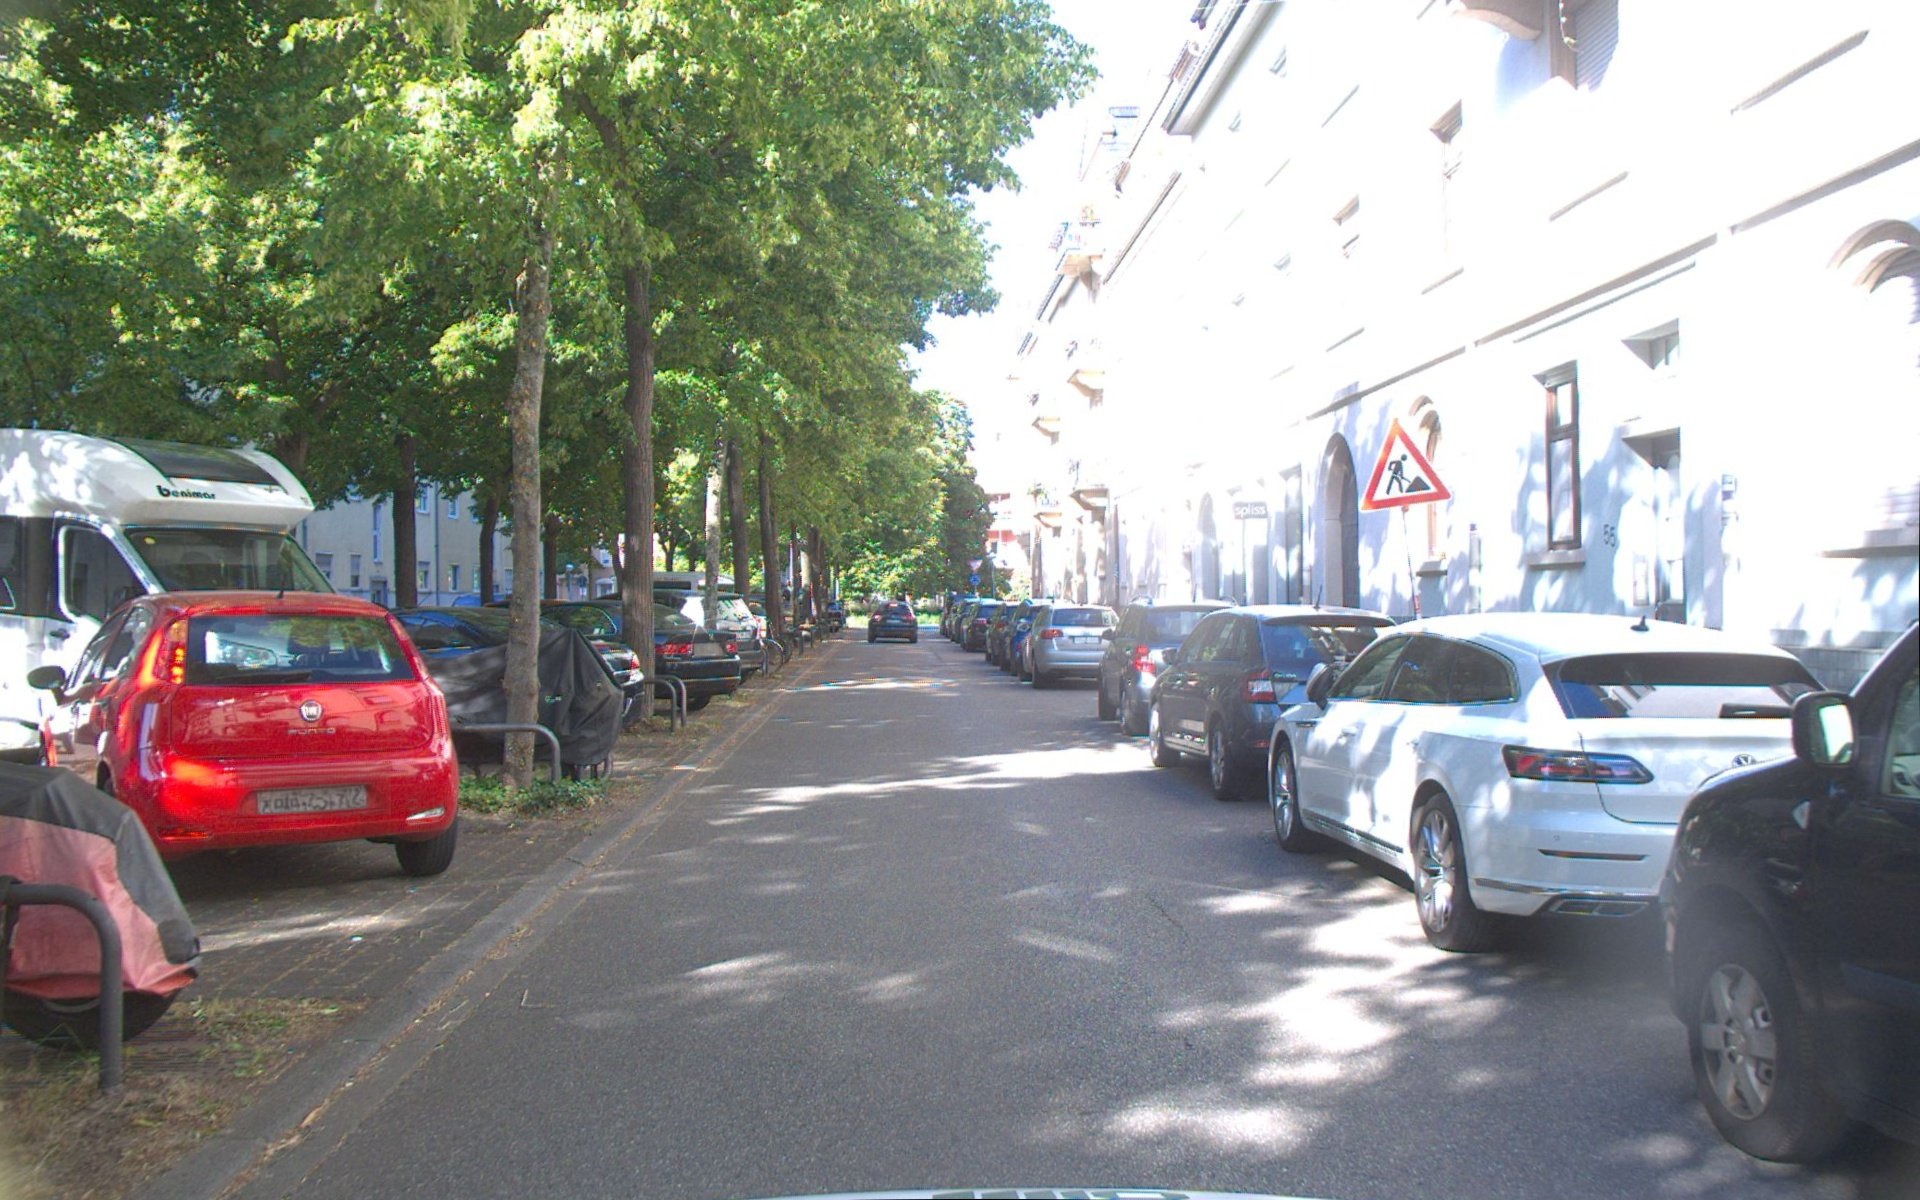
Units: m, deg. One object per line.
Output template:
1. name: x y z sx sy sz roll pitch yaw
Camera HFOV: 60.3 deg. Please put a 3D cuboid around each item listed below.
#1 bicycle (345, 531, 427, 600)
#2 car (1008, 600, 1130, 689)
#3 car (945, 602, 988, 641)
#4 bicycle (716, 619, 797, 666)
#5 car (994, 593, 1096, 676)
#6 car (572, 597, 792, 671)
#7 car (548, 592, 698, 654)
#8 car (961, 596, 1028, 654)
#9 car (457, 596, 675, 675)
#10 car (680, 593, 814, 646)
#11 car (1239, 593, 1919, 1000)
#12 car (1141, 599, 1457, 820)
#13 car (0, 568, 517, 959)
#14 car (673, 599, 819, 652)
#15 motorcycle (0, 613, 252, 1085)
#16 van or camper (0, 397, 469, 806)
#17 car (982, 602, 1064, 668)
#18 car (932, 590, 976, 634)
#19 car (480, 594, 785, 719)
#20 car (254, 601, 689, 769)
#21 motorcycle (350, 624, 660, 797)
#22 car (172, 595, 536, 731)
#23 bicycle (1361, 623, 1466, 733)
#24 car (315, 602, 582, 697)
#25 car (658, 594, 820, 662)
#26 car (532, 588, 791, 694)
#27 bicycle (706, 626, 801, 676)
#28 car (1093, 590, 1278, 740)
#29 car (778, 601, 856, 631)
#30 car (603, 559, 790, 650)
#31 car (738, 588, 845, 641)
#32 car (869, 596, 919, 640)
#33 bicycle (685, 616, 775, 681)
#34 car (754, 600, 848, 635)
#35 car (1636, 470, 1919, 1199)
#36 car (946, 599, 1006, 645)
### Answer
1. bicycle: -10.531 -0.615 30.397 0.348 1.221 1.801 0 0 21
2. car: 1.887 0.746 29.928 1.734 1.456 4.289 -2 0 -2
3. car: 0.260 0.884 70.844 1.612 1.564 3.998 2 0 -3
4. bicycle: -4.588 0.961 37.294 1.772 1.011 0.426 -1 0 13
5. car: 1.719 0.679 34.724 1.732 1.579 4.181 -2 0 -2
6. car: -6.010 0.707 35.712 4.523 1.512 1.759 0 0 26
7. car: -9.499 0.648 46.562 3.828 1.583 1.844 -2 0 28
8. car: 0.995 0.721 49.631 1.768 1.591 4.319 -2 0 -1
9. car: -7.981 0.707 33.470 4.022 1.499 1.870 -1 0 26
10. car: -7.053 0.623 54.743 4.178 1.670 1.654 0 0 26
11. car: 2.730 0.722 8.395 1.575 1.445 4.565 -2 0 -3
12. car: 2.632 0.776 13.744 1.567 1.518 3.964 -2 0 -3
13. car: -4.096 0.732 9.069 1.650 1.646 3.820 -2 0 -42
14. car: -6.327 0.768 48.961 4.016 1.507 1.730 -1 -1 27
15. motorcycle: -3.542 0.749 5.146 2.278 1.358 0.966 -1 0 -12
16. van or camper: -7.382 0.009 14.079 6.163 2.874 2.405 0 0 26
17. car: 1.461 0.796 39.707 1.658 1.493 4.003 0 0 -2
18. car: -0.301 0.561 76.128 1.765 1.903 4.270 2 0 -3
19. car: -4.394 0.742 21.996 3.935 1.499 1.622 -2 0 33
20. car: -4.772 0.772 16.024 4.066 1.450 1.712 -1 -1 30
21. motorcycle: -3.457 0.825 12.676 2.102 1.251 0.882 -1 0 6
22. car: -7.300 0.723 19.970 3.905 1.512 1.830 0 -1 21
23. bicycle: 5.333 0.890 19.547 0.399 1.207 1.843 -1 0 -11
24. car: -8.188 0.756 26.405 4.108 1.415 1.814 -1 0 31
25. car: -5.508 0.680 41.218 3.607 1.624 1.772 0 0 23
26. car: -5.059 0.656 28.032 3.994 1.682 1.862 0 0 25
27. bicycle: -4.030 0.992 32.263 1.858 0.935 0.379 0 0 17
28. car: 2.556 0.692 19.598 1.548 1.578 4.040 -1 0 -1
29. car: -7.613 0.854 87.872 4.062 1.507 1.768 -1 -1 38
30. car: -9.378 0.185 59.056 5.937 2.668 2.457 -5 -2 13
31. car: -6.408 0.559 62.782 3.772 1.922 1.838 -1 0 35
32. car: -2.387 0.628 60.628 1.679 1.509 4.143 -2 0 -1
33. bicycle: -4.287 0.894 30.837 1.650 1.179 0.379 0 0 17
34. car: -6.994 0.773 72.524 4.013 1.492 1.863 0 -1 -9
35. car: 3.143 0.585 3.295 1.736 1.825 3.987 -2 0 -4
36. car: 0.566 0.797 62.752 1.828 1.672 4.487 0 0 -5
